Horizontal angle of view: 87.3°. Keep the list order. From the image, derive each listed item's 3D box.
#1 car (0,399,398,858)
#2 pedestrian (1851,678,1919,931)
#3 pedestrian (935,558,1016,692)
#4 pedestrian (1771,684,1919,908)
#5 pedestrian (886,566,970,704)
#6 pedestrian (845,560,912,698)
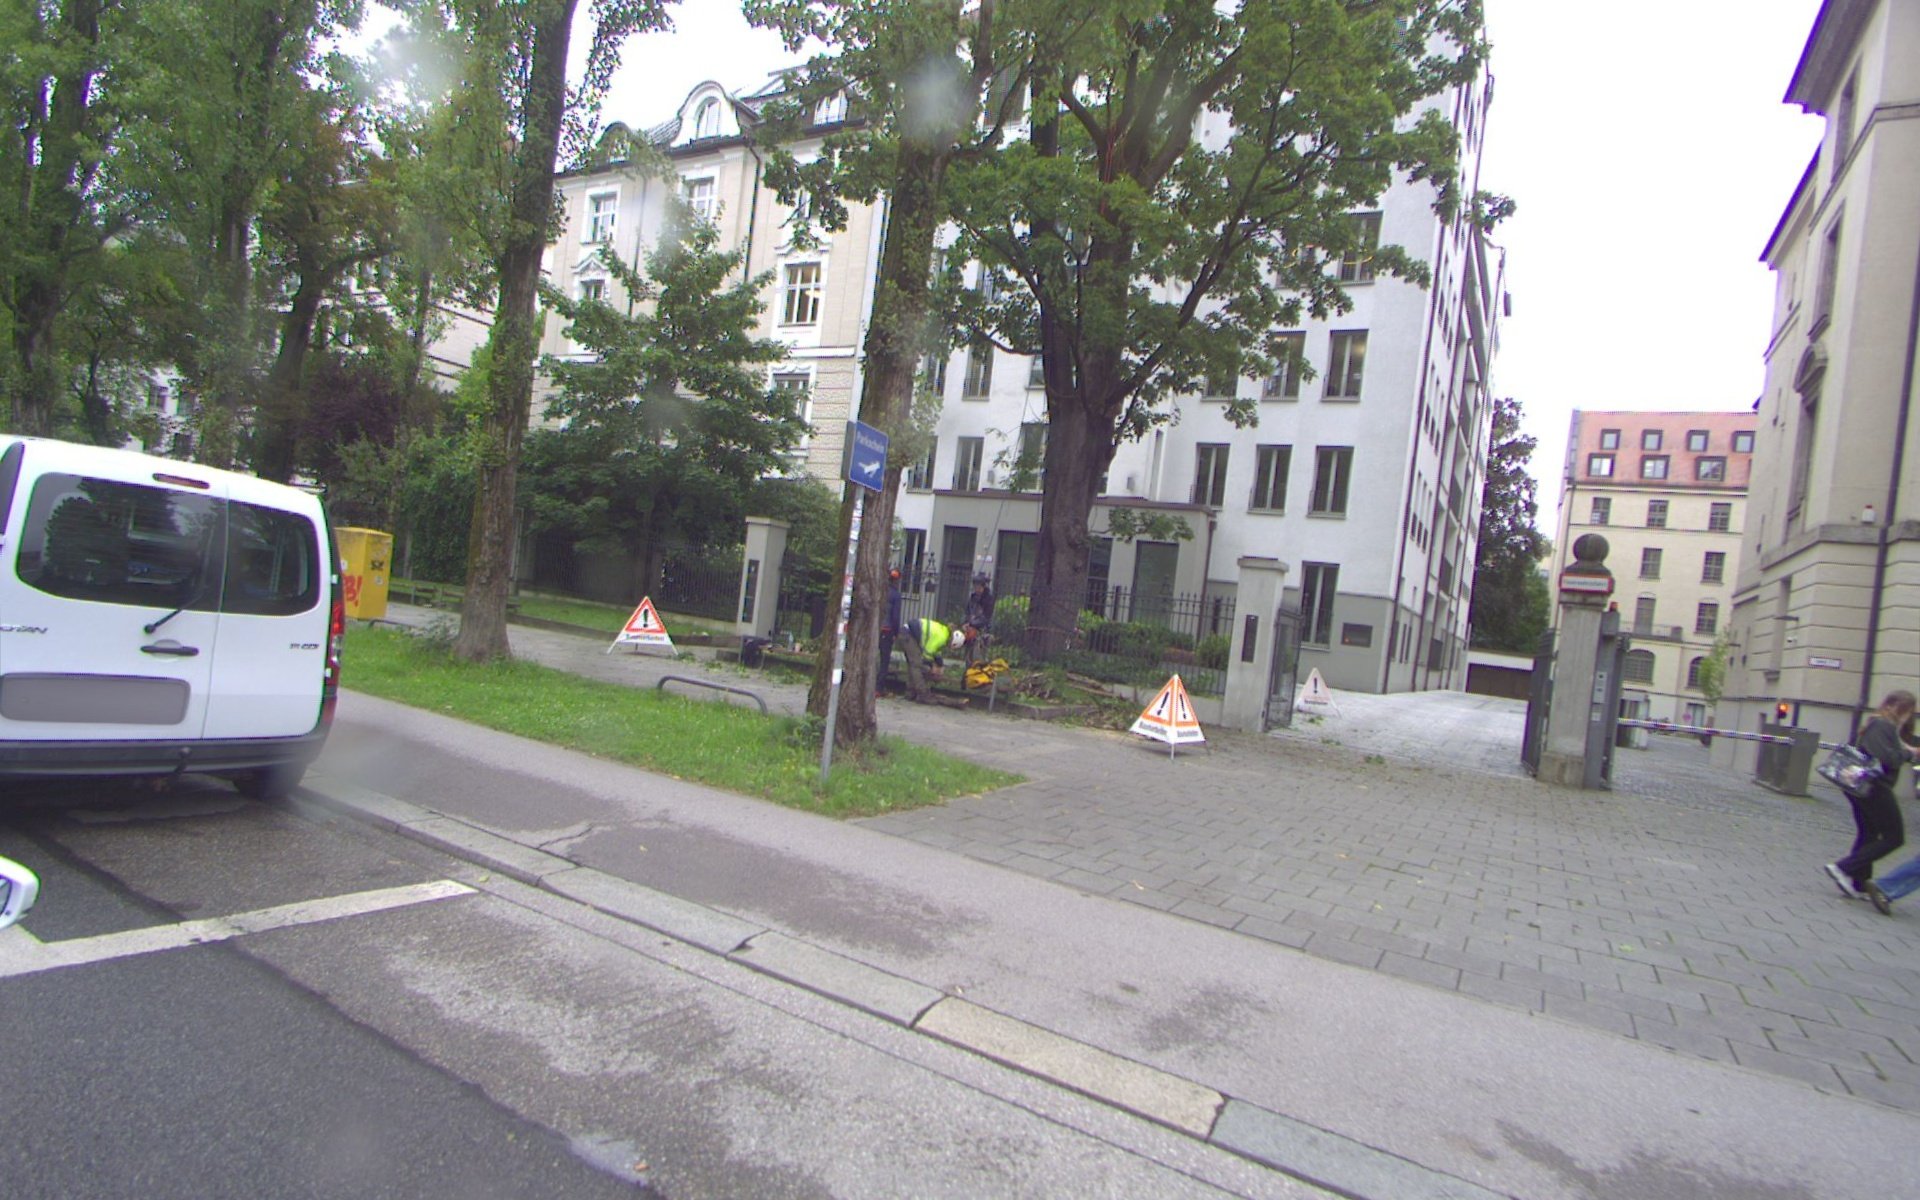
[{"bbox_3d":[-5.408,-0.038,5.762,4.097,1.904,1.854,7,0,30],"label":"car"},{"bbox_3d":[7.190,1.487,7.229,0.853,1.739,0.854,7,2,30],"label":"pedestrian"},{"bbox_3d":[0.242,0.364,15.023,0.814,1.823,0.904,9,2,10],"label":"pedestrian"},{"bbox_3d":[7.210,1.529,8.076,0.853,1.598,0.568,7,1,30],"label":"pedestrian"},{"bbox_3d":[-0.437,0.492,14.211,0.805,1.804,0.802,7,1,14],"label":"pedestrian"},{"bbox_3d":[-1.164,0.408,14.425,0.626,1.886,0.488,7,1,14],"label":"pedestrian"}]
